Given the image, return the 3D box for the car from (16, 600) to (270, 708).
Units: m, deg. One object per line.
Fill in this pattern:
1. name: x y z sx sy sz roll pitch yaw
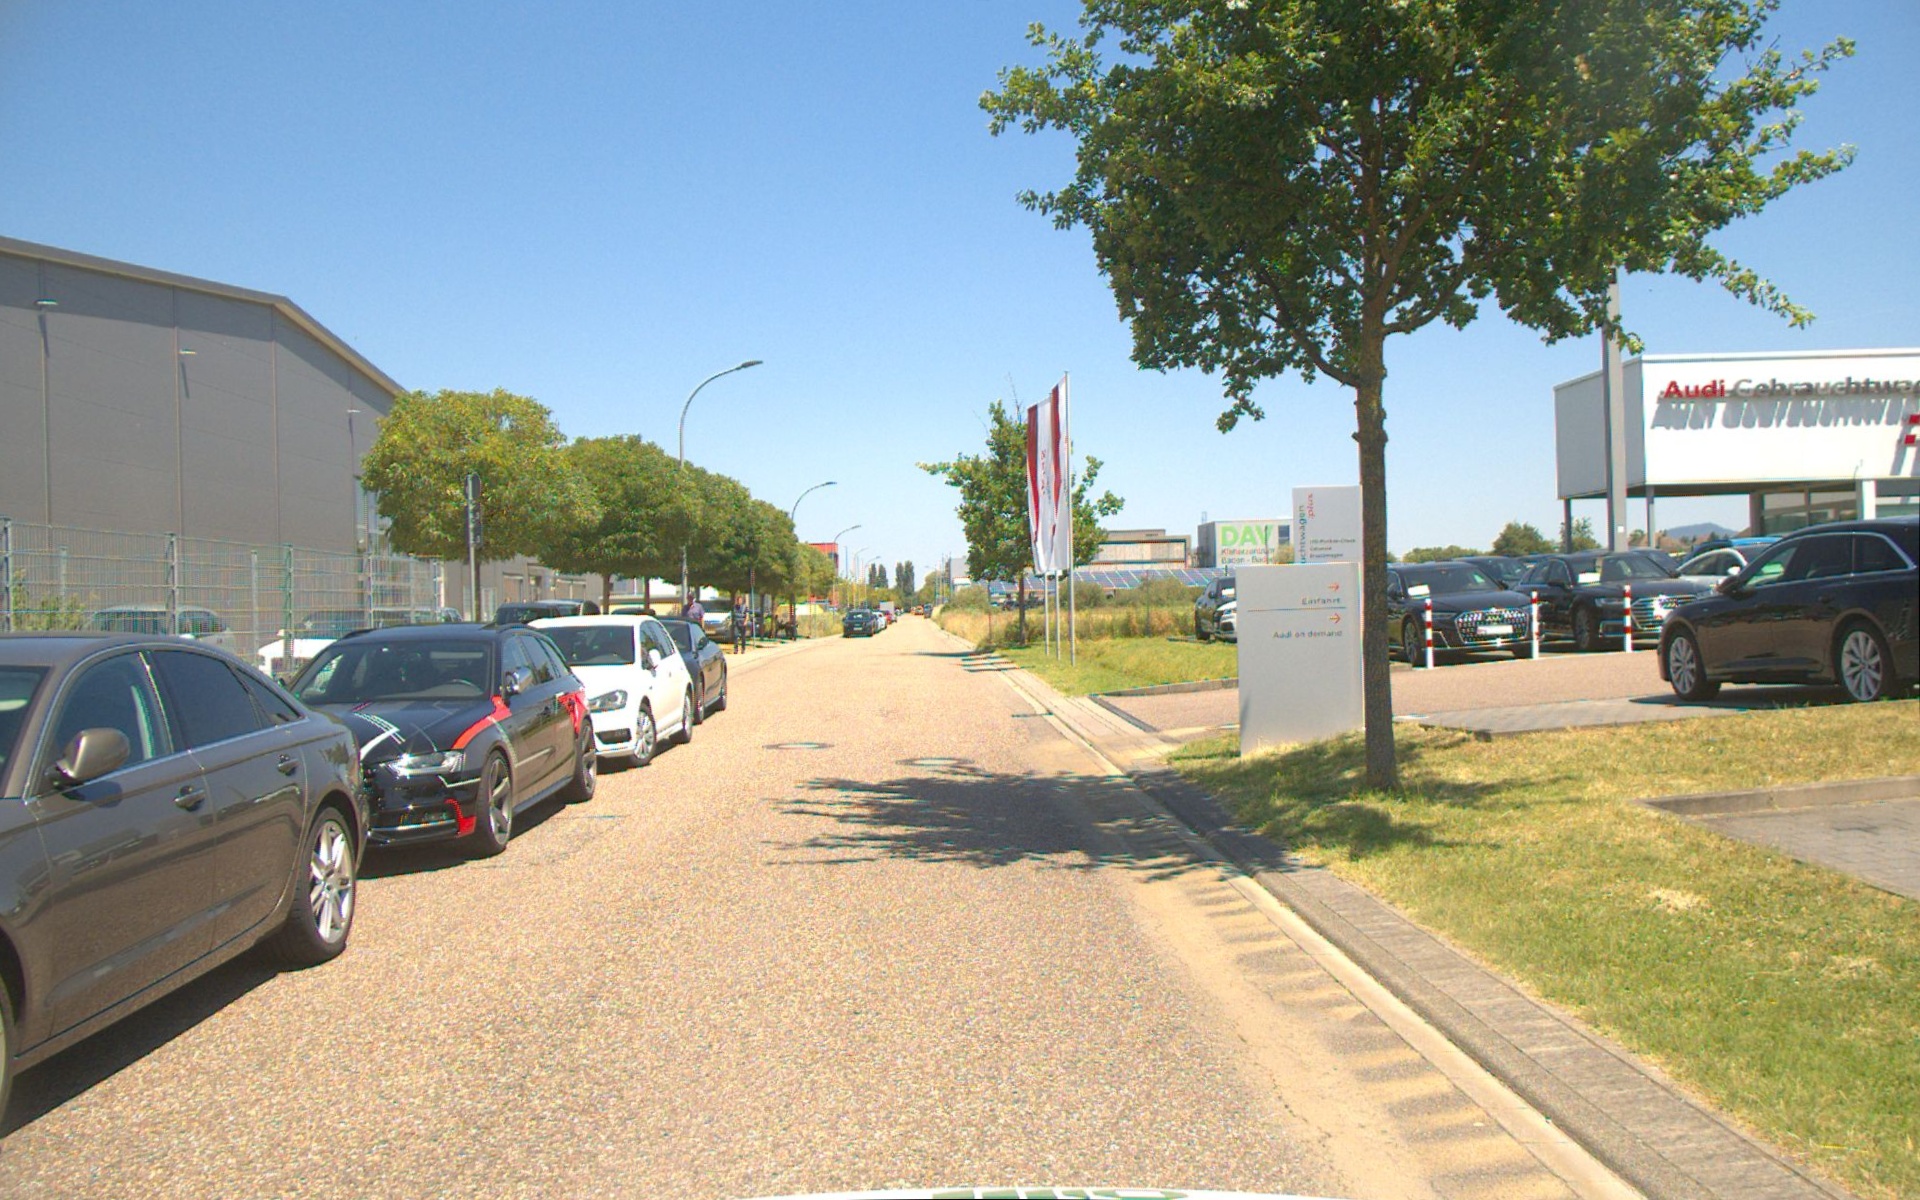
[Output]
1. car: -12.439 0.768 25.511 1.787 1.526 4.258 0 0 0

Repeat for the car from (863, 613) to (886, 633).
1. car: -7.304 1.966 141.640 1.751 1.547 3.981 -2 0 -2

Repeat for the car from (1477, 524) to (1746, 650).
1. car: 10.033 -0.175 26.032 1.859 1.600 5.474 -5 0 -1

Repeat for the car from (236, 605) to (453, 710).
1. car: -9.602 0.841 26.175 1.787 1.526 4.327 0 0 0

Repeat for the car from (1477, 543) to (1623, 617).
1. car: 15.306 -0.485 43.183 1.984 1.708 4.808 -3 0 0

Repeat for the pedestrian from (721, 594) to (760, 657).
1. pedestrian: -7.077 0.804 53.296 0.826 2.007 0.960 -1 -1 38

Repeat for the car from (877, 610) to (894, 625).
1. car: -8.222 1.936 181.886 1.751 1.547 3.981 -2 -1 -2

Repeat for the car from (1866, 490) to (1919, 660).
1. car: 10.224 -0.356 14.225 1.922 1.626 4.983 -4 -2 -2

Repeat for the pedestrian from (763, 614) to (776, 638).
1. pedestrian: -9.294 1.263 80.734 0.468 1.170 0.555 1 -3 8

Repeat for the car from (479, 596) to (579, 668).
1. car: -9.801 0.695 37.849 1.650 1.526 3.699 -1 0 -6

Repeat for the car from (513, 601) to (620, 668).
1. car: -10.070 0.852 42.641 1.730 1.601 4.538 0 0 -1

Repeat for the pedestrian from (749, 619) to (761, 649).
1. pedestrian: -11.202 1.859 90.344 0.495 1.623 0.753 1 -1 1

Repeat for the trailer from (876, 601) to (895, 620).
1. trailer: -8.681 1.231 192.890 2.156 2.175 4.284 -2 -1 -2

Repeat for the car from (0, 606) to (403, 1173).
1. car: -3.530 0.822 5.608 1.787 1.526 4.518 -2 0 -1

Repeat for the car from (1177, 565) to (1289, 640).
1. car: 7.071 0.071 43.389 1.984 1.722 5.107 -3 0 0

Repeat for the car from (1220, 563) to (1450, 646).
1. car: 8.128 0.095 36.072 4.439 1.482 2.030 -4 0 -4

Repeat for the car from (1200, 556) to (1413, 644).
1. car: 8.049 0.006 38.671 4.439 1.722 2.030 -4 0 -4

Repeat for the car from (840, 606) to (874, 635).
1. car: -6.145 1.215 98.916 1.888 1.595 4.187 -2 0 -3

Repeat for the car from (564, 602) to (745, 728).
1. car: -4.188 0.836 23.345 1.787 1.526 4.524 -2 0 -2

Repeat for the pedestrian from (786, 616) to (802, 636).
1. pedestrian: -9.146 1.434 91.205 0.735 1.118 0.646 1 -1 2

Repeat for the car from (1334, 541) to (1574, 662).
1. car: 7.568 0.028 25.951 1.984 1.540 5.237 -5 0 -1

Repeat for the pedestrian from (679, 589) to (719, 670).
1. pedestrian: -6.013 0.673 38.205 0.729 1.833 1.135 0 0 0

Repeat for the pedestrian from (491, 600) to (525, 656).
1. pedestrian: -14.390 0.881 52.643 0.823 1.743 0.964 0 -1 -2

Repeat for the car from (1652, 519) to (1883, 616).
1. car: 15.473 -0.568 32.037 1.984 1.617 4.777 -3 0 -1

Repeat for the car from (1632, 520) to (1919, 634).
1. car: 12.902 -0.322 26.524 1.984 1.482 5.076 -5 0 -1

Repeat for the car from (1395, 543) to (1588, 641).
1. car: 10.002 -0.135 31.551 1.984 1.617 4.777 -3 0 -1

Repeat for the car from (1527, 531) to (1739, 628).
1. car: 12.828 -0.353 31.902 1.984 1.617 4.777 -3 0 -1

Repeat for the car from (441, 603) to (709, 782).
1. car: -3.779 0.837 16.998 1.787 1.526 4.257 -2 0 -1

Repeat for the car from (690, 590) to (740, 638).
1. car: -10.993 0.616 74.471 1.801 2.054 5.122 1 0 -4

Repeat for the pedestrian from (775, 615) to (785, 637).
1. pedestrian: -10.028 1.421 92.136 0.495 1.212 0.753 1 -1 1

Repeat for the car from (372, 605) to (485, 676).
1. car: -11.925 0.878 37.334 1.650 1.526 3.700 0 0 -5

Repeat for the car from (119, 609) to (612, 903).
1. car: -3.749 0.867 11.370 1.787 1.526 4.518 -2 0 -1

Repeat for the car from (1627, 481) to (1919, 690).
1. car: 7.699 -0.083 13.943 1.922 1.482 4.983 -4 -2 -2
